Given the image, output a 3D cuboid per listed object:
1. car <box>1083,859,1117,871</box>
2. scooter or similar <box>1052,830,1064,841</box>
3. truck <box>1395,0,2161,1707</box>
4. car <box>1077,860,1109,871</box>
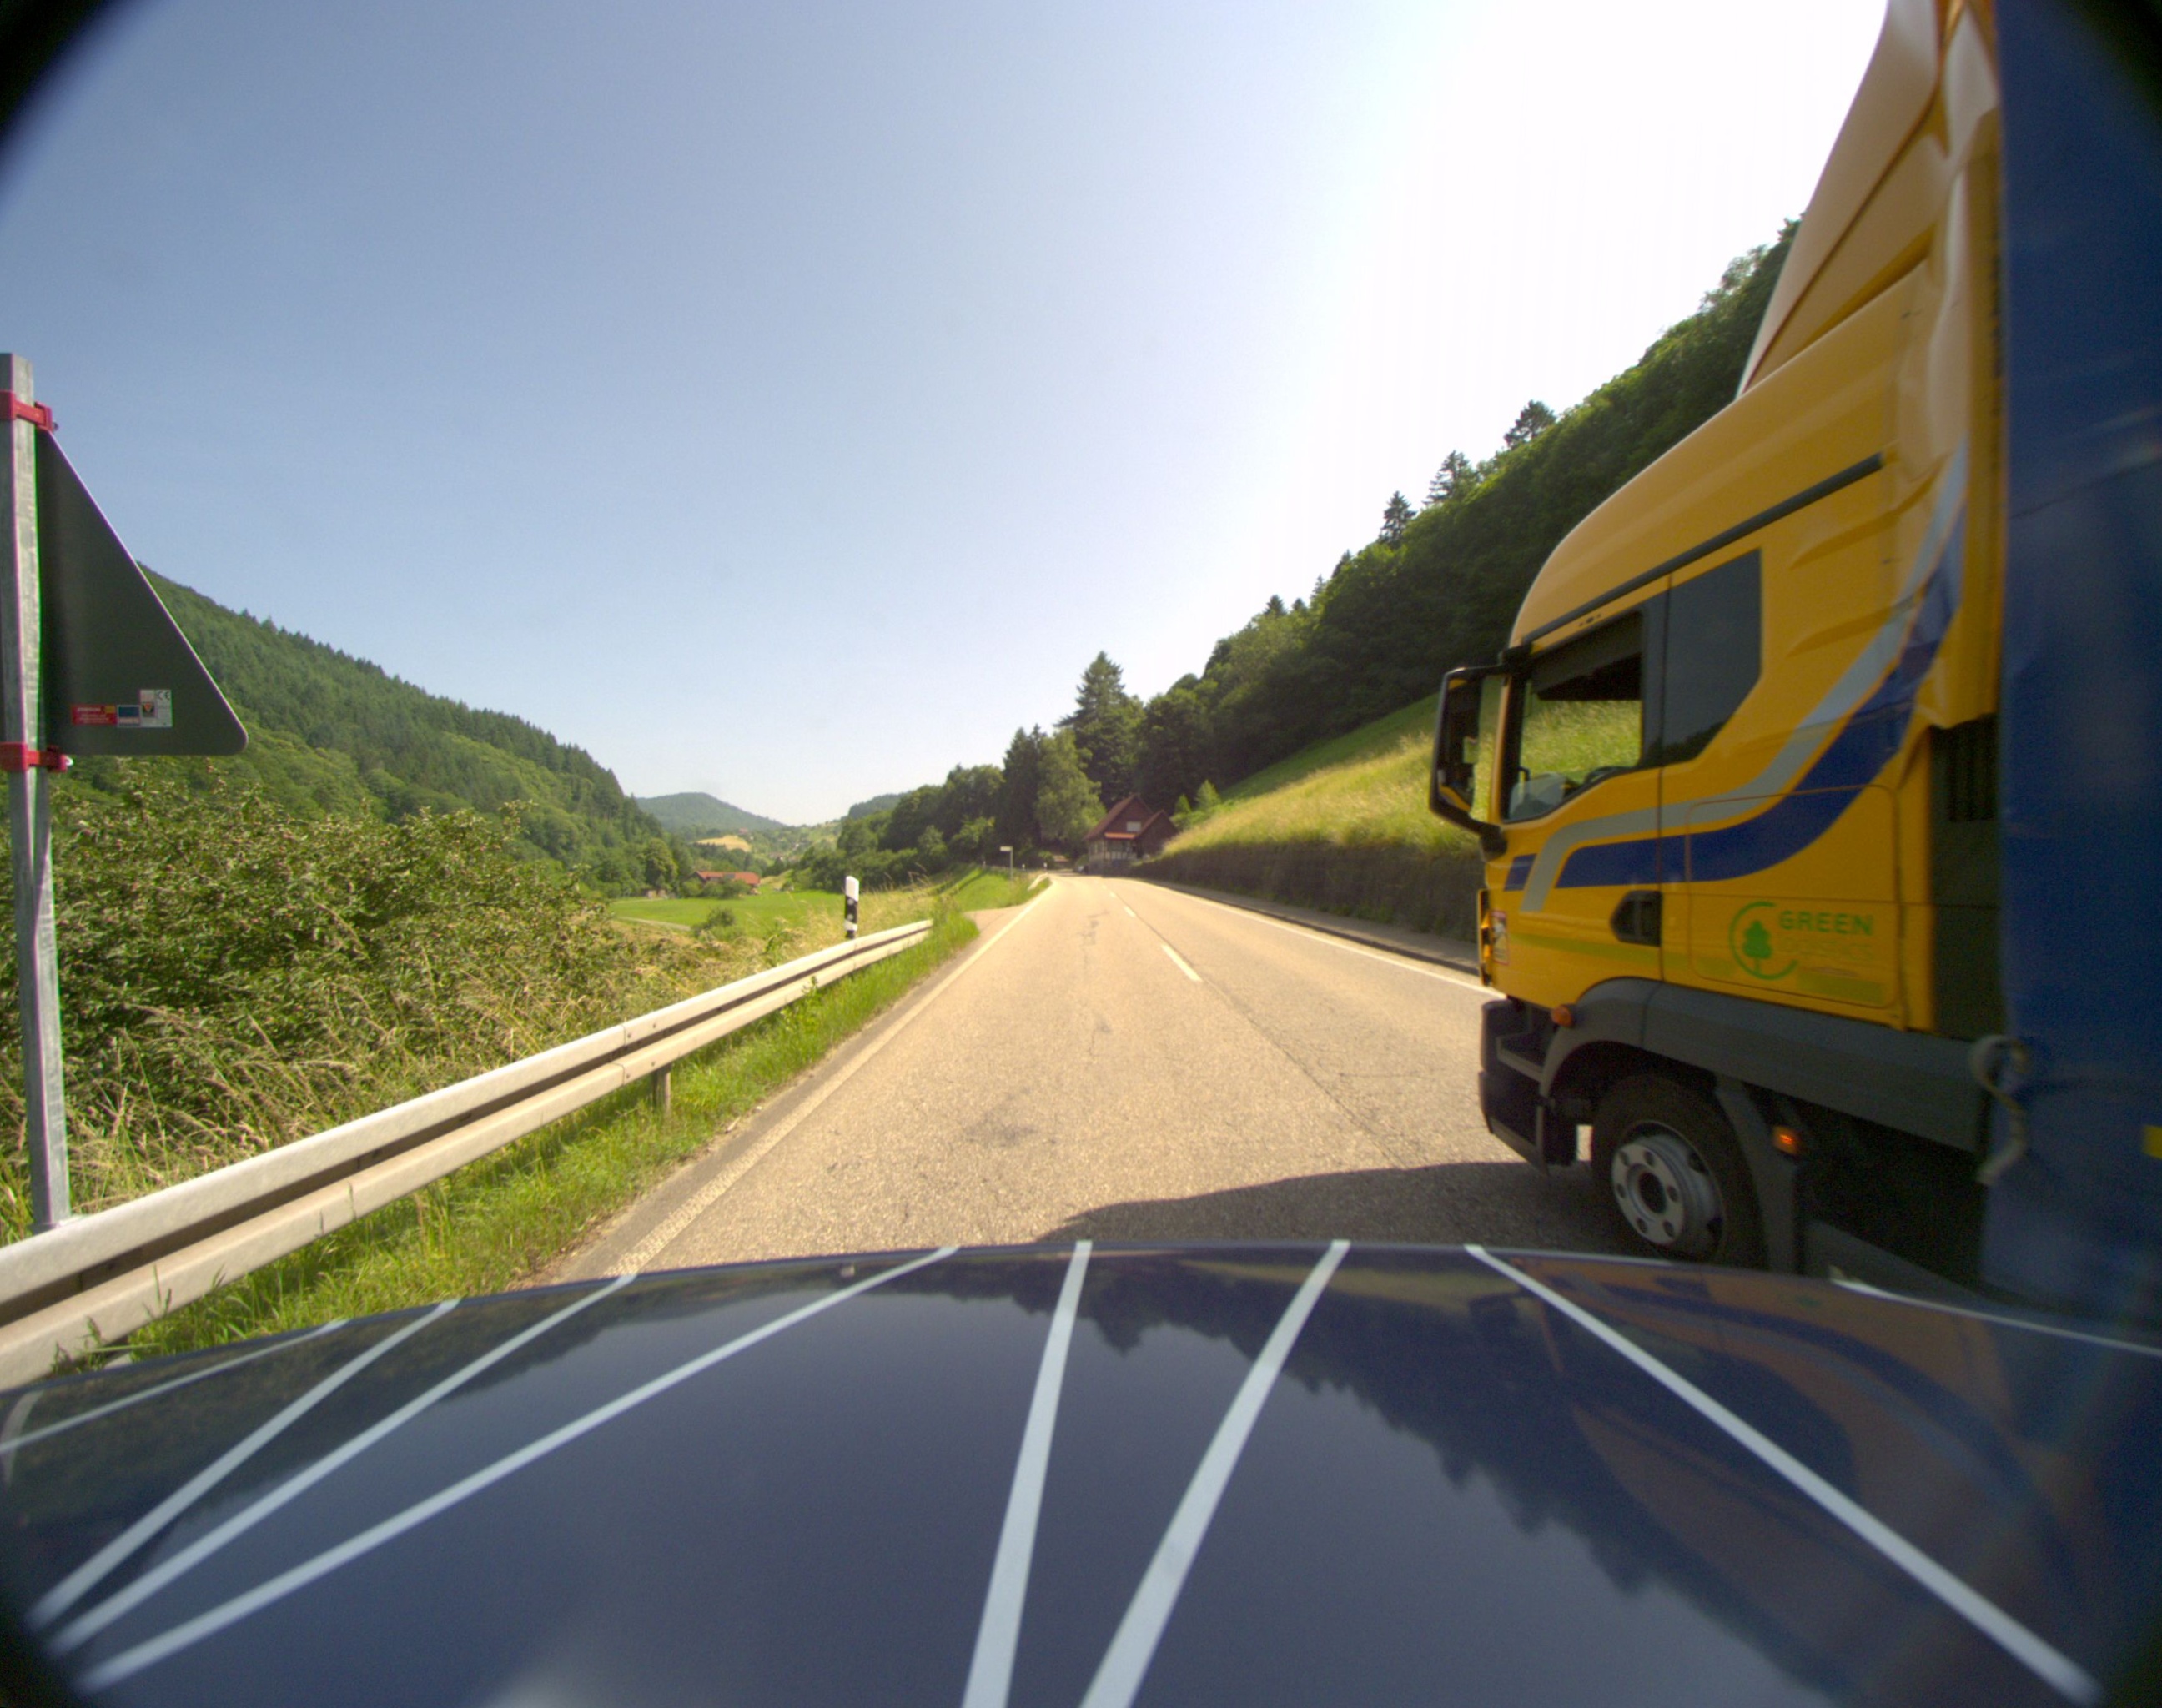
[{"bbox_3d":[2.343,1.357,95.173,3.831,1.424,1.861,1,1,-14],"label":"car"},{"bbox_3d":[-4.577,-3.637,151.950,1.984,2.015,4.402,-4,1,-7],"label":"scooter or similar"},{"bbox_3d":[3.114,-0.673,0.305,3.196,4.370,6.573,-2,-1,1],"label":"truck"},{"bbox_3d":[1.521,1.437,97.252,3.831,1.408,1.855,0,-1,-14],"label":"car"}]
